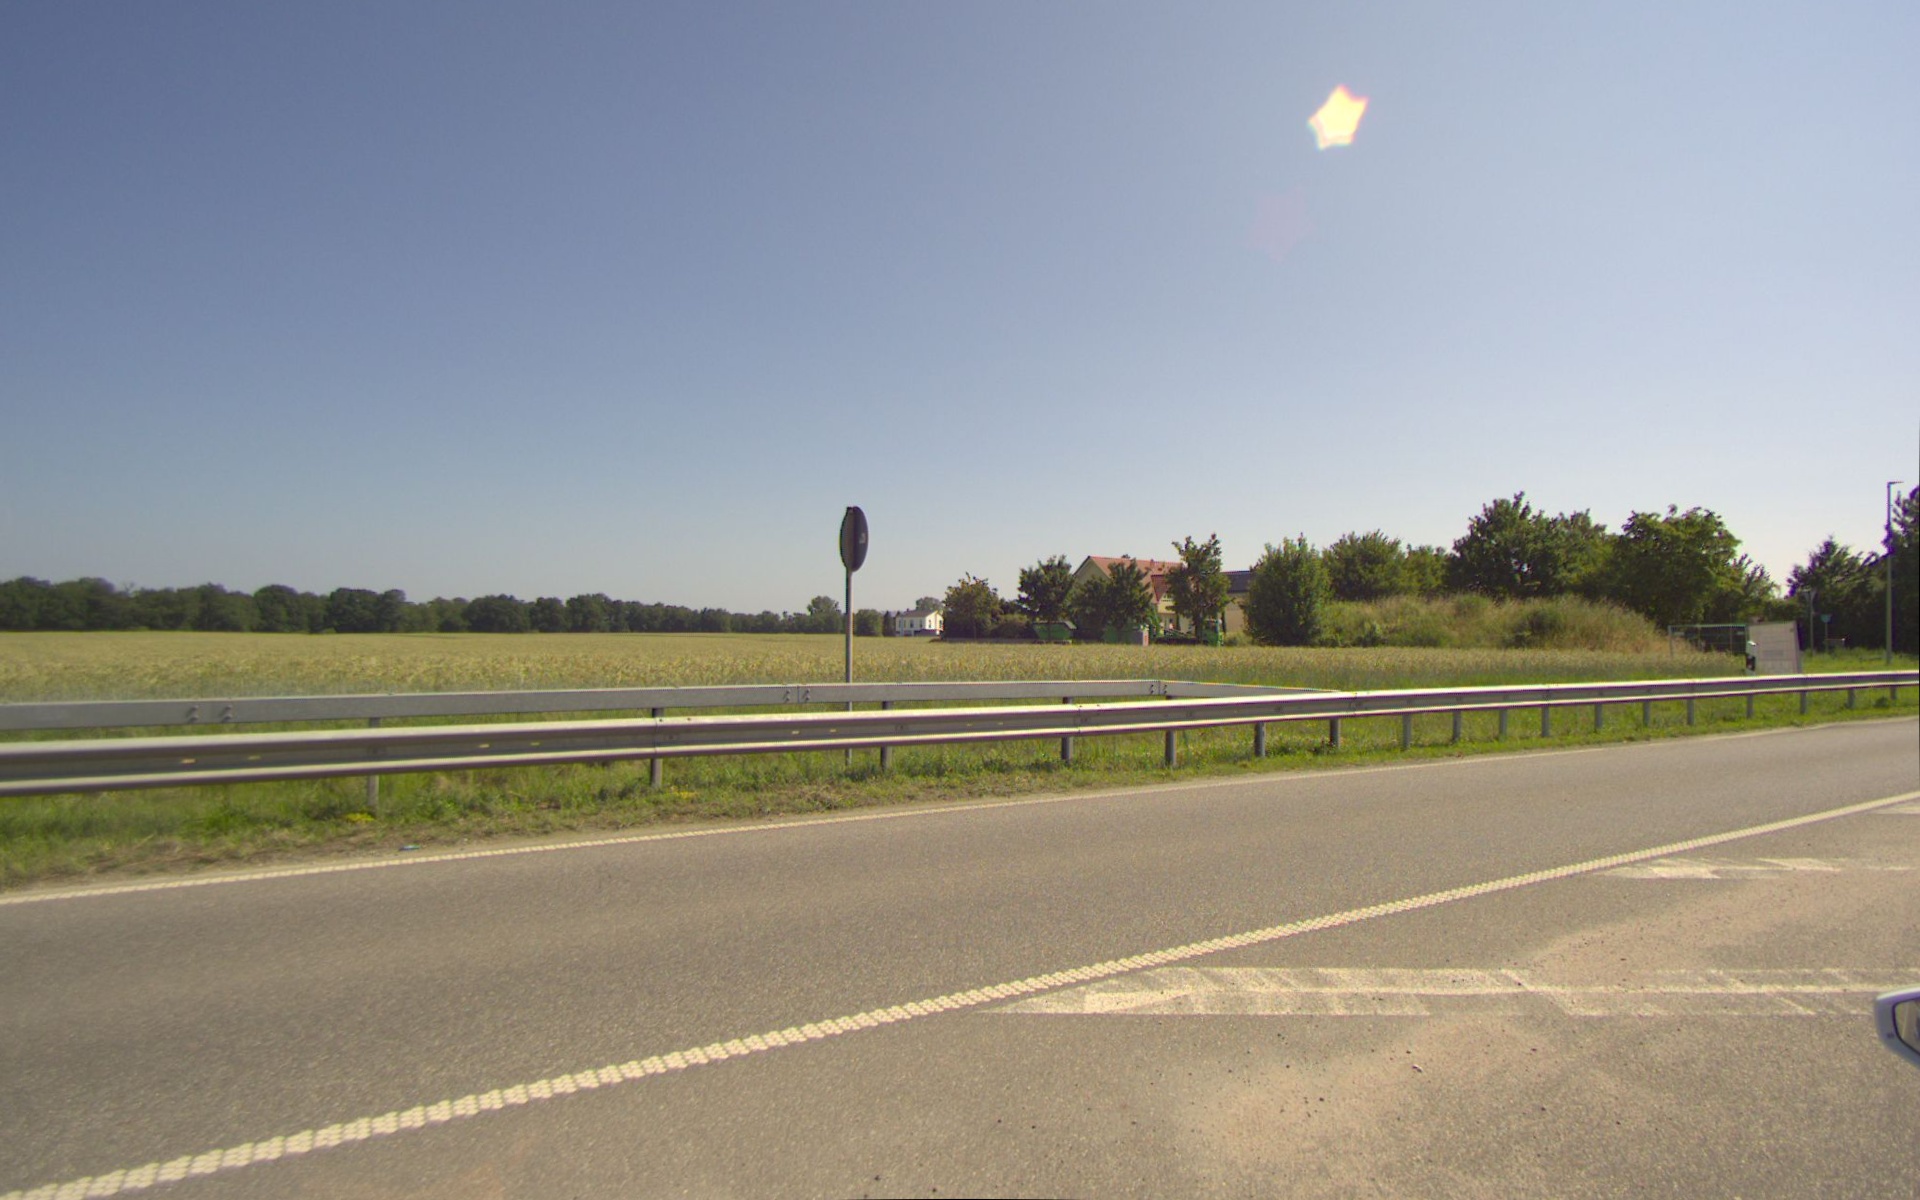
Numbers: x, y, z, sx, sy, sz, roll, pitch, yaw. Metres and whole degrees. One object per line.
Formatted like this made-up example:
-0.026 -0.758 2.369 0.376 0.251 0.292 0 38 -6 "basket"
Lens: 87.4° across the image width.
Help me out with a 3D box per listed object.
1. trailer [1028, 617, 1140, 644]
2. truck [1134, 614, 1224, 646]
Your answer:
11.537 2.799 94.082 10.292 2.308 1.999 0 -1 24 "trailer"
19.688 2.700 90.484 7.540 2.684 2.520 0 -1 24 "truck"
